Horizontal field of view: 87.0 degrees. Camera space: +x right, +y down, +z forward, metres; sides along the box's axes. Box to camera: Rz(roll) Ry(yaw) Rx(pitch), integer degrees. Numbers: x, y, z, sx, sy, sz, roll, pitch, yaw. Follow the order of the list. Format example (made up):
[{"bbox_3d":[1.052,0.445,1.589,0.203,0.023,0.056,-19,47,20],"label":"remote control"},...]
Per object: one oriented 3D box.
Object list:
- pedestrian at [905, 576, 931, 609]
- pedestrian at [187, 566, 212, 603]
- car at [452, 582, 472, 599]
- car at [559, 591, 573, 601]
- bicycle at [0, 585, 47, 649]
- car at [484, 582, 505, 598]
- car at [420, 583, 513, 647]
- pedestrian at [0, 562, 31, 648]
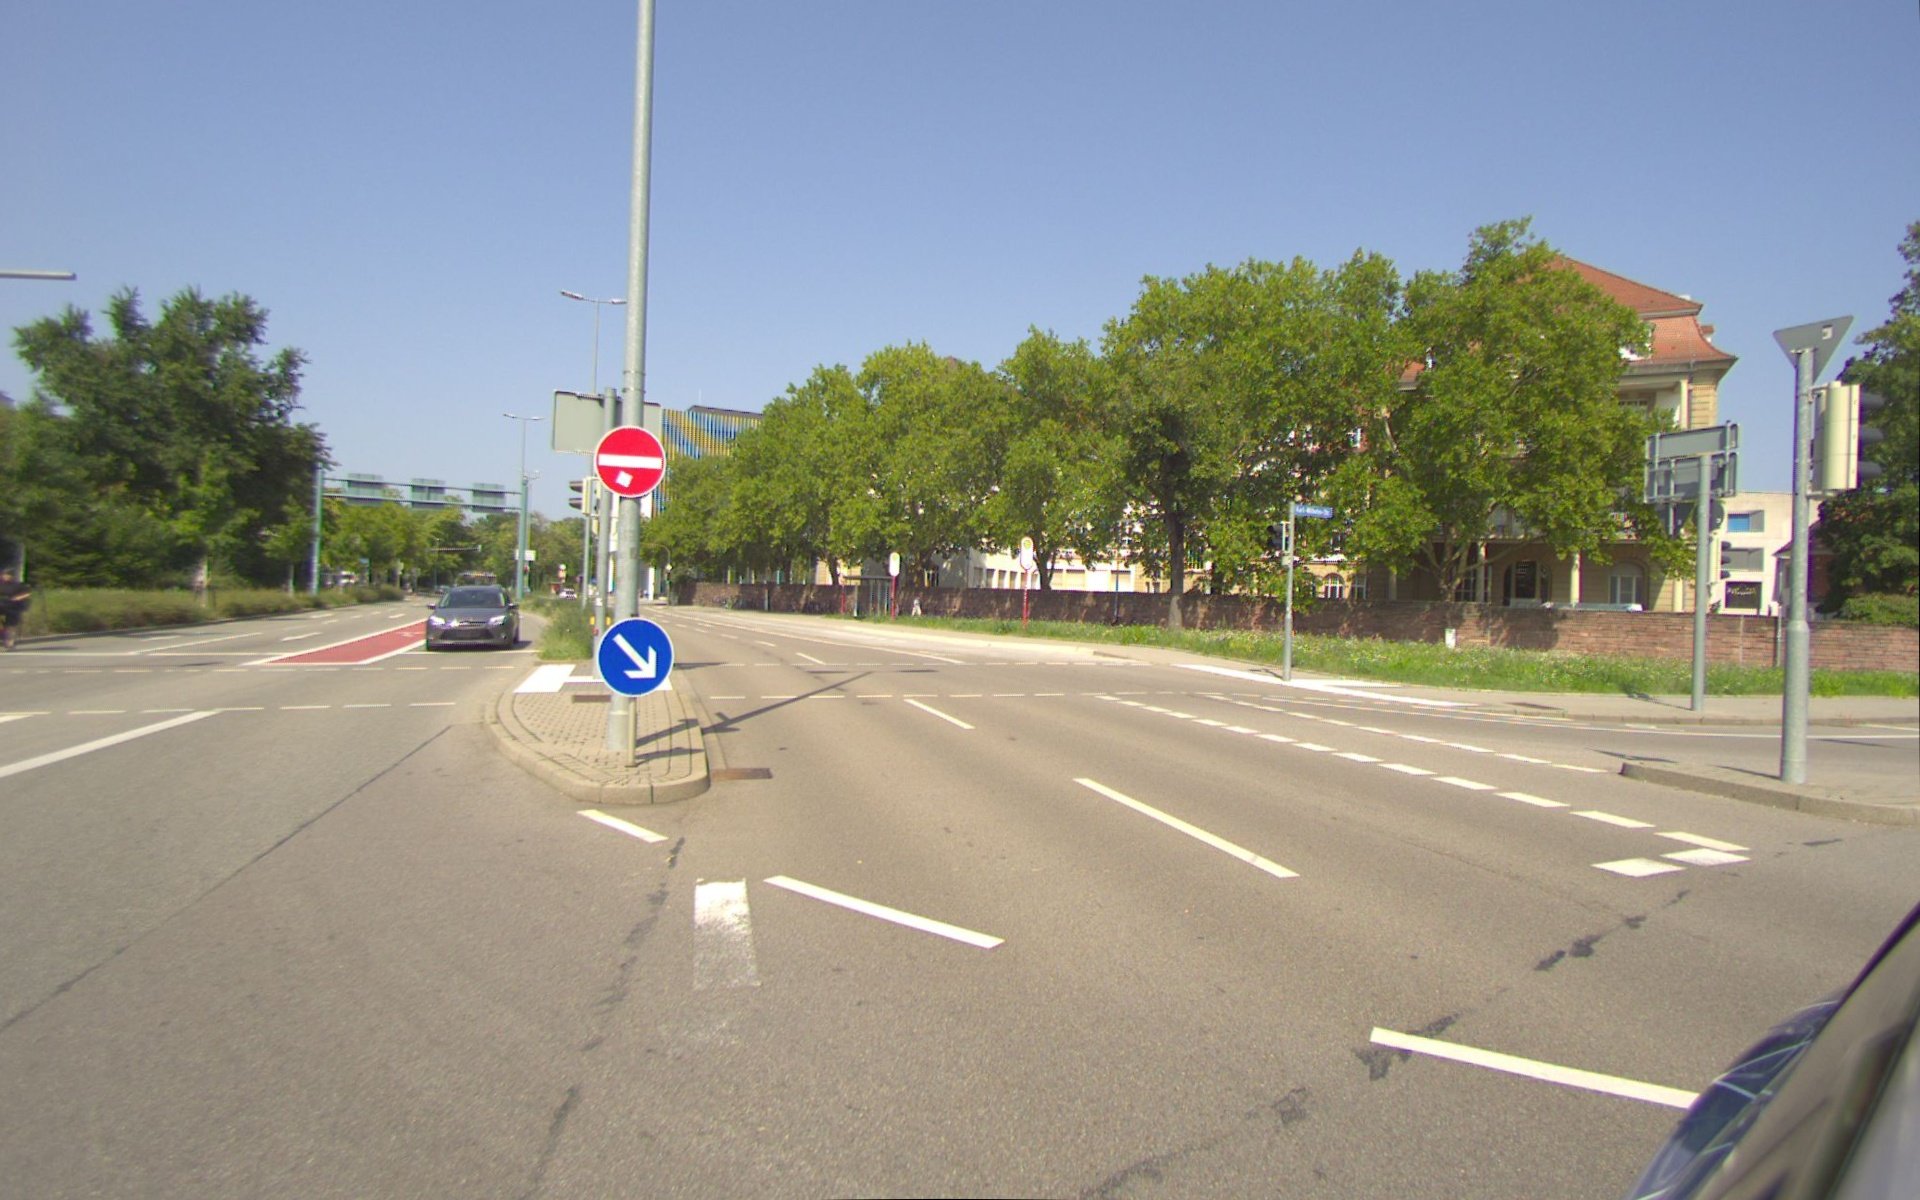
[{"bbox_3d":[-2.645,-0.489,63.820,1.231,2.039,1.055,2,0,44],"label":"pedestrian"},{"bbox_3d":[-37.451,-0.780,49.848,0.777,1.791,0.828,2,0,-22],"label":"pedestrian"},{"bbox_3d":[-61.571,-1.187,125.157,2.041,1.941,4.202,2,0,-26],"label":"car"},{"bbox_3d":[-50.488,-0.511,129.587,1.557,1.151,3.270,3,0,-23],"label":"car"},{"bbox_3d":[-19.285,0.321,20.338,0.770,1.228,1.793,2,0,-22],"label":"bicycle"},{"bbox_3d":[-54.646,-1.180,118.864,1.958,1.700,4.008,2,0,-23],"label":"car"},{"bbox_3d":[-11.386,0.291,23.519,1.754,1.374,3.431,0,1,-23],"label":"car"},{"bbox_3d":[-19.245,0.088,20.255,0.764,1.690,0.550,2,0,-22],"label":"pedestrian"}]
